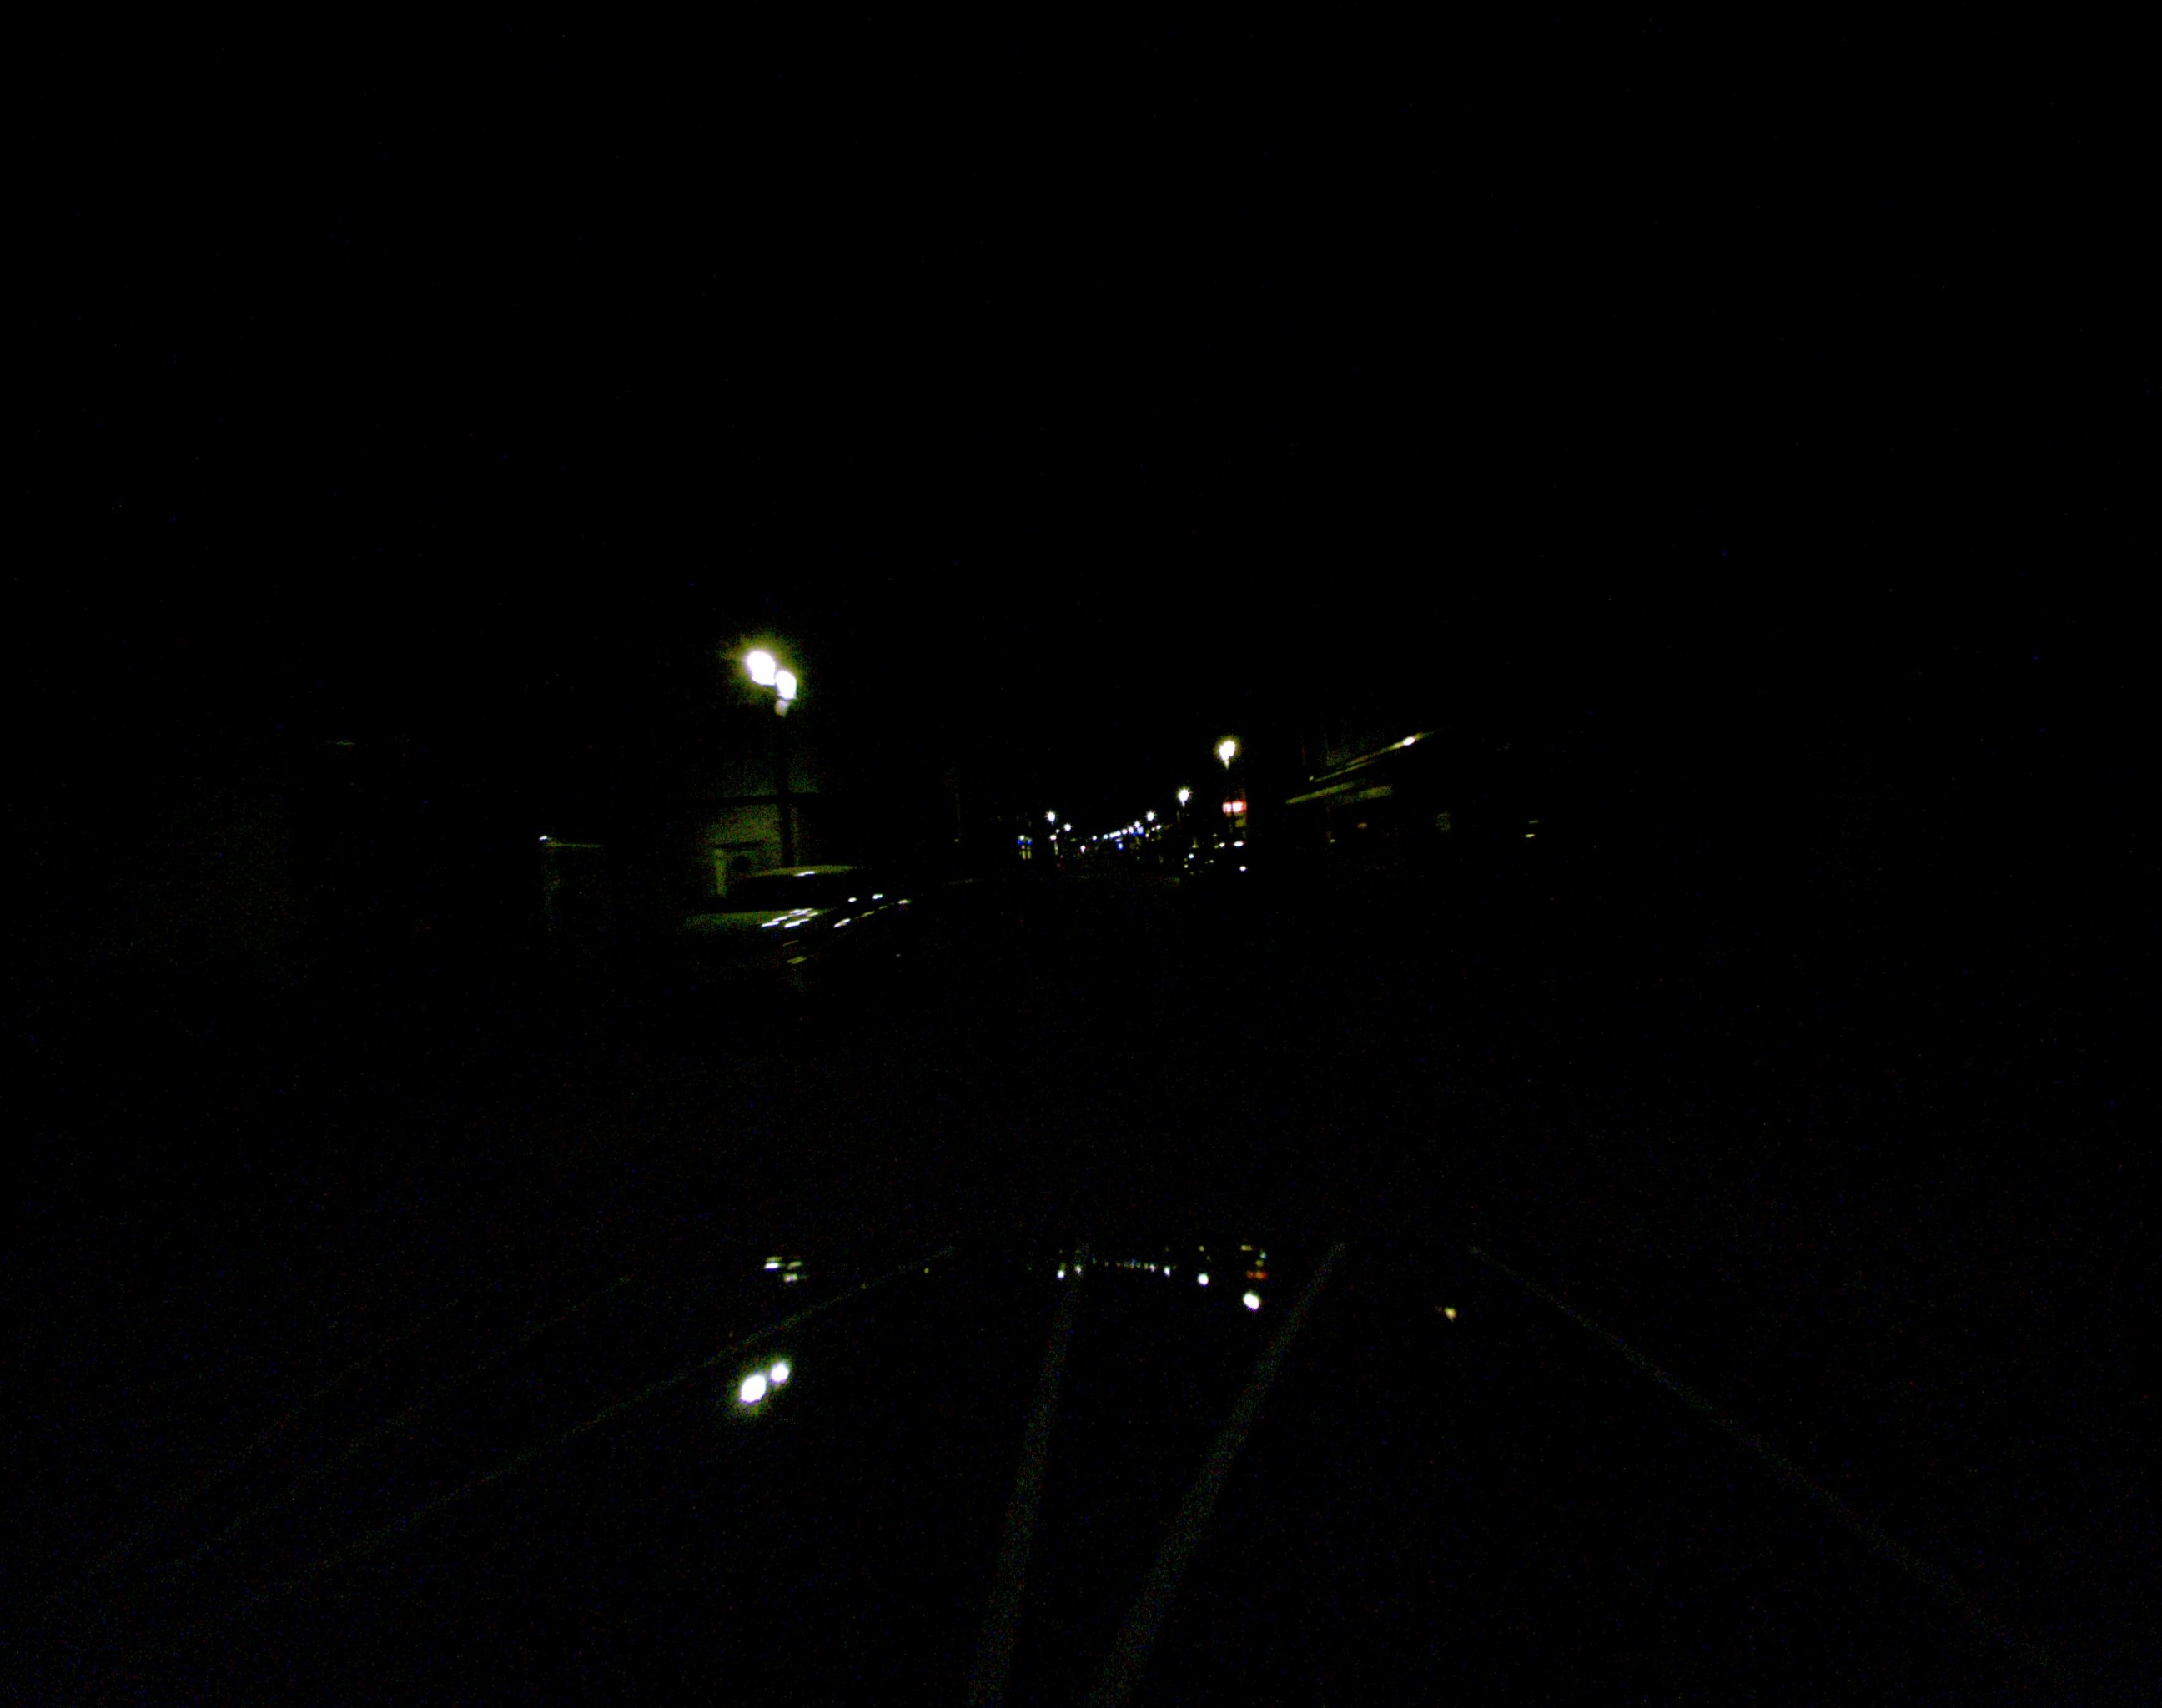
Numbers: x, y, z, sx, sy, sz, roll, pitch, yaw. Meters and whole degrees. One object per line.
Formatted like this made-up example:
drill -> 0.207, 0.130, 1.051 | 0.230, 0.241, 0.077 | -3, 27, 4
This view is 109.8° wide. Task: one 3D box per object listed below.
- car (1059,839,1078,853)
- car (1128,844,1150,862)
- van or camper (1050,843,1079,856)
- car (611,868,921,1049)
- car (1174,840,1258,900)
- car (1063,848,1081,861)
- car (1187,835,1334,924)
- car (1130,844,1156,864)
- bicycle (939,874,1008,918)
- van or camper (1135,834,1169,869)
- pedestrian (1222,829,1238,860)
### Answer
car -> -1.410, -0.911, 85.614 | 1.664, 1.370, 4.104 | -2, 1, 5
car -> 5.705, -0.135, 75.338 | 1.802, 1.469, 4.320 | -7, 1, 1
van or camper -> -3.814, -1.030, 171.008 | 6.059, 2.519, 2.158 | -5, 1, -29
car -> -3.343, 1.011, 9.060 | 1.793, 1.483, 4.059 | -3, 1, 2
car -> 3.929, 0.414, 22.636 | 1.733, 1.468, 3.846 | -5, 1, 1
car -> -1.055, 0.059, 90.496 | 1.757, 1.456, 4.467 | -2, 1, 5
car -> 3.797, 0.463, 17.068 | 2.024, 1.479, 5.007 | -7, 1, 1
car -> 4.916, -0.047, 60.693 | 1.721, 1.404, 4.385 | -6, 1, 2
bicycle -> -2.950, 1.156, 20.878 | 1.759, 1.056, 0.346 | -4, 1, -1
van or camper -> 4.629, -0.205, 48.870 | 1.849, 1.930, 5.155 | -5, 1, 7
pedestrian -> 8.434, -0.545, 43.075 | 0.622, 1.735, 1.022 | -5, 1, 2
